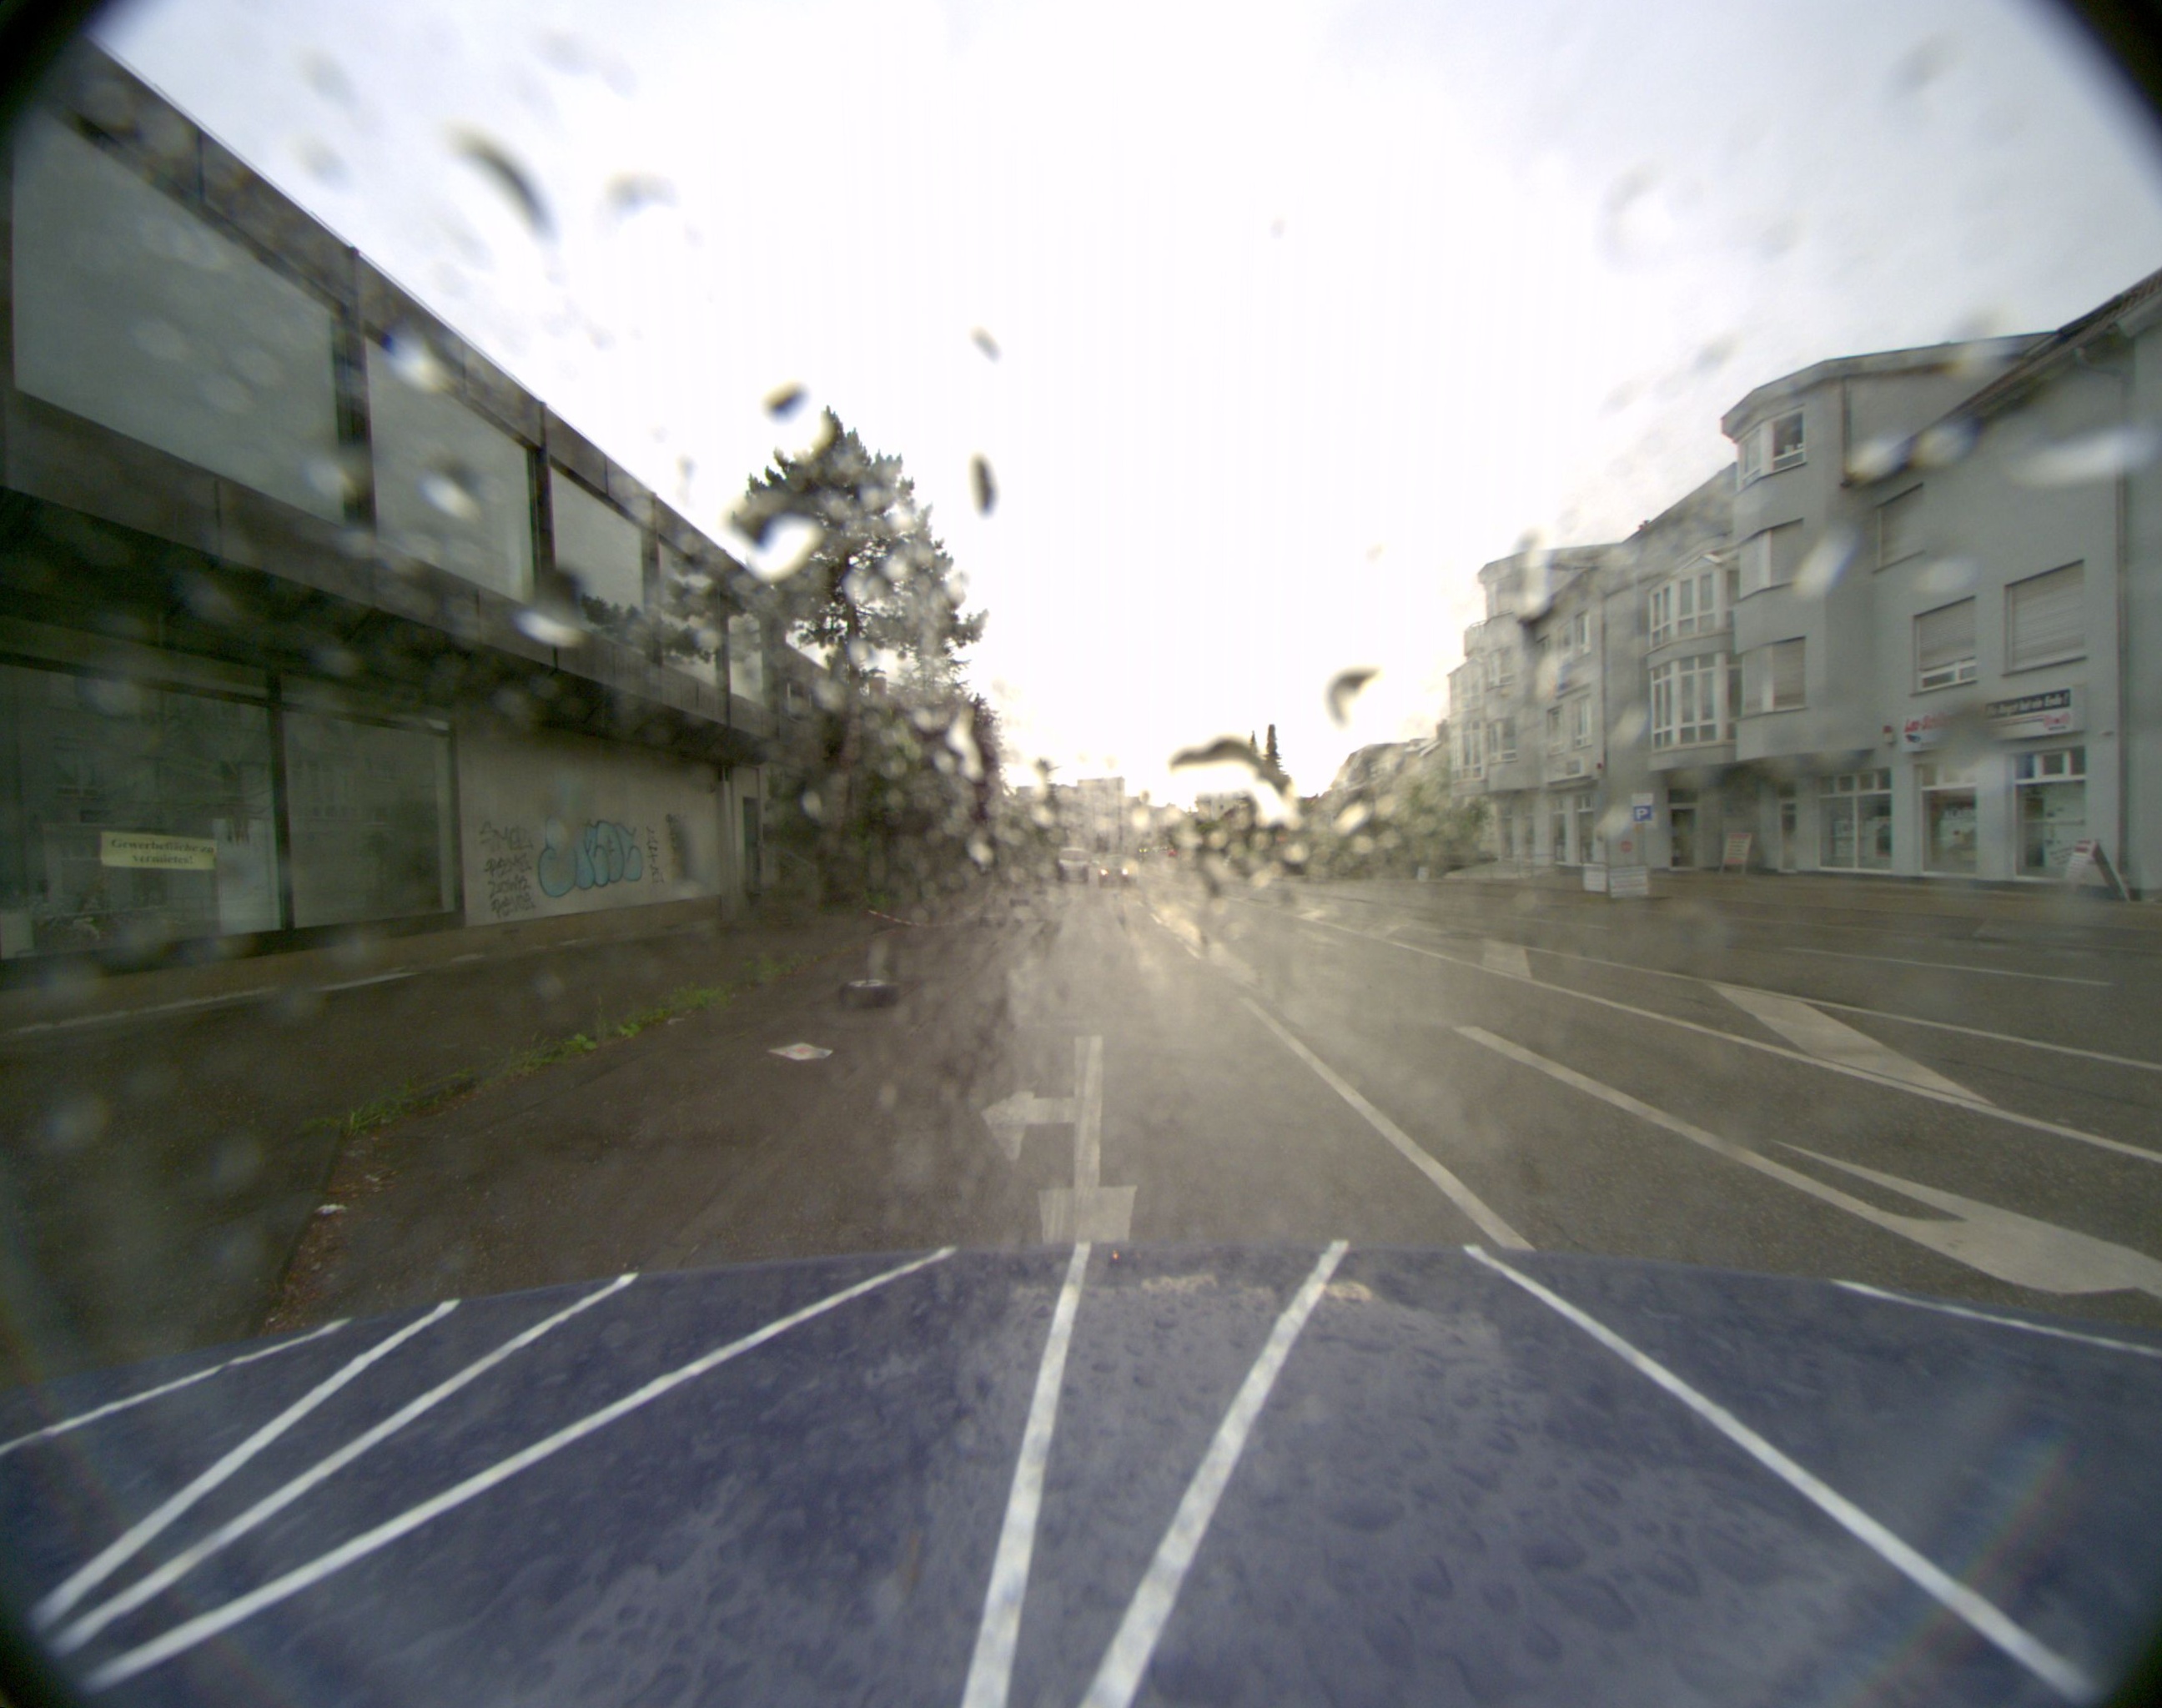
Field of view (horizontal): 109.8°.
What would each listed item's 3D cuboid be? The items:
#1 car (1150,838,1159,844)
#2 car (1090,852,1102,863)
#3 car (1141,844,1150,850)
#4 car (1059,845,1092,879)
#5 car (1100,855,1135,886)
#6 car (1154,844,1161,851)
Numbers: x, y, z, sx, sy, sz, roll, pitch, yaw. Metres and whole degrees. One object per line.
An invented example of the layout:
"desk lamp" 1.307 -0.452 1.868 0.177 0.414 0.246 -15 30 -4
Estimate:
"car" 23.414 -4.105 241.947 1.996 1.808 4.003 -2 1 14
"car" 2.430 0.553 121.073 1.803 1.675 3.999 -2 1 1
"car" 18.397 -2.039 216.518 1.997 1.723 4.002 -2 1 9
"car" -0.341 0.474 50.403 1.998 2.072 3.999 -2 1 1
"car" 1.979 0.845 42.095 1.754 1.534 4.676 -1 1 1
"car" 23.093 -1.969 229.555 1.998 1.774 4.000 -2 1 3
